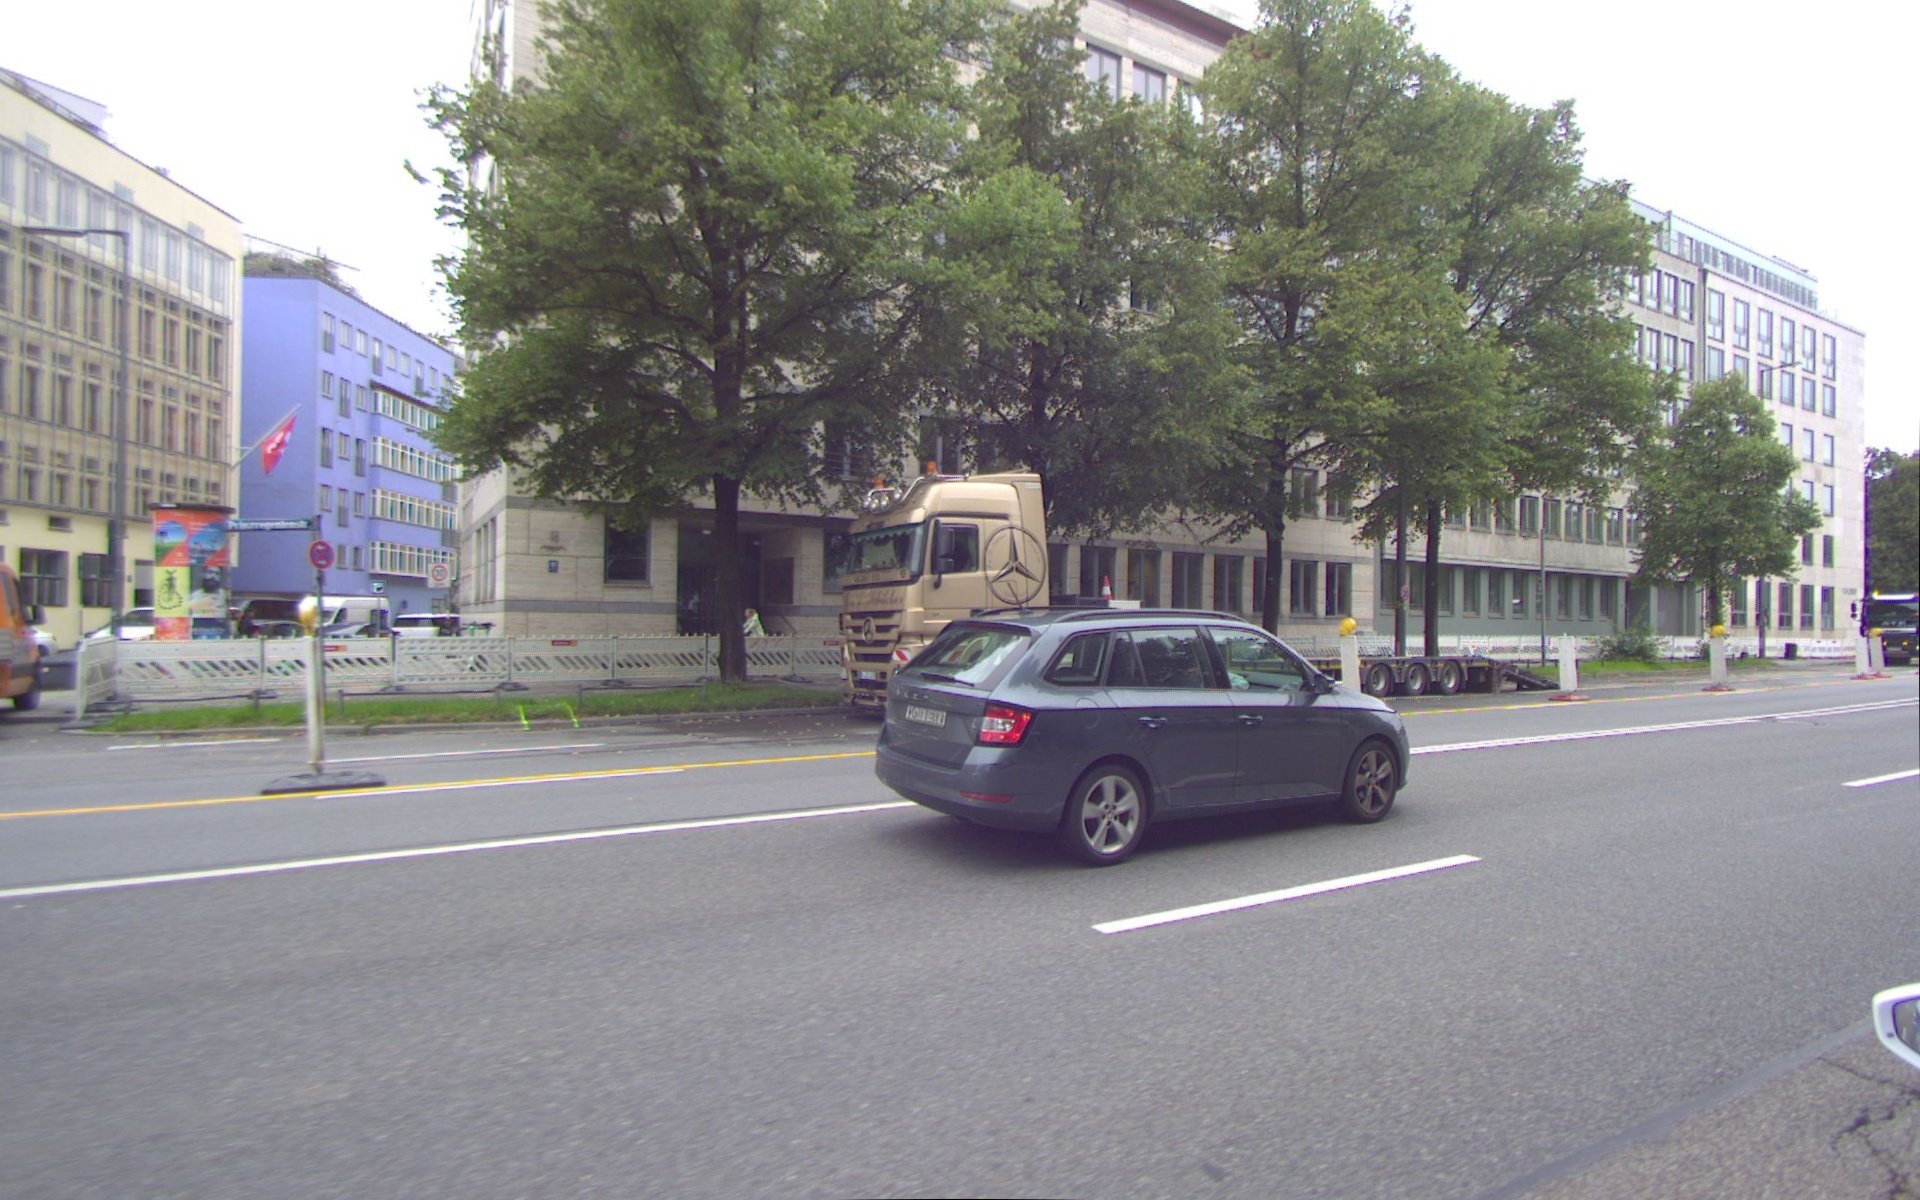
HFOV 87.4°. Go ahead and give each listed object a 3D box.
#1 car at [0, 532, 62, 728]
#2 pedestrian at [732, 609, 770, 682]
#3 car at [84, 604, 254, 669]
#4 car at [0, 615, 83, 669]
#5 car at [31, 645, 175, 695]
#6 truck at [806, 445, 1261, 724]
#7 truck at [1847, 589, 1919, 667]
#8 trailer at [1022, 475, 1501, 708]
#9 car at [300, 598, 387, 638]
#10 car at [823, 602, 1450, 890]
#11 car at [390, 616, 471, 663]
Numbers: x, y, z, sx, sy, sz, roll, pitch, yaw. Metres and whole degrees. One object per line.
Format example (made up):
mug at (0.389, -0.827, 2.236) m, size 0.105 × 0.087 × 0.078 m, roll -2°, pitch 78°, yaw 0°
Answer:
car at (-14.184, 0.399, 13.645) m, size 2.134 × 2.570 × 5.646 m, roll 1°, pitch -1°, yaw -34°
pedestrian at (-5.152, 1.105, 24.775) m, size 0.755 × 1.755 × 0.576 m, roll 1°, pitch 0°, yaw -30°
car at (-25.758, 1.156, 32.976) m, size 1.719 × 1.935 × 5.071 m, roll 0°, pitch -1°, yaw -3°
car at (-27.848, 1.206, 29.112) m, size 1.460 × 1.517 × 3.964 m, roll 0°, pitch -1°, yaw -3°
car at (-28.465, 2.291, 33.513) m, size 1.708 × 1.477 × 3.670 m, roll 0°, pitch -1°, yaw -2°
truck at (1.478, -0.158, 17.132) m, size 7.589 × 3.825 × 2.897 m, roll 1°, pitch 0°, yaw -35°
truck at (44.438, 1.292, 47.159) m, size 8.690 × 3.402 × 2.817 m, roll 1°, pitch 0°, yaw -39°
trailer at (6.785, -0.037, 20.912) m, size 11.653 × 3.790 × 2.930 m, roll 1°, pitch 0°, yaw -35°
car at (-28.765, 0.863, 47.019) m, size 1.834 × 1.773 × 3.998 m, roll 0°, pitch -1°, yaw -4°
car at (1.354, 0.808, 7.024) m, size 4.228 × 1.466 × 1.783 m, roll 2°, pitch -1°, yaw -32°
car at (-19.937, 1.446, 37.927) m, size 1.460 × 1.686 × 3.183 m, roll 0°, pitch -1°, yaw -3°
